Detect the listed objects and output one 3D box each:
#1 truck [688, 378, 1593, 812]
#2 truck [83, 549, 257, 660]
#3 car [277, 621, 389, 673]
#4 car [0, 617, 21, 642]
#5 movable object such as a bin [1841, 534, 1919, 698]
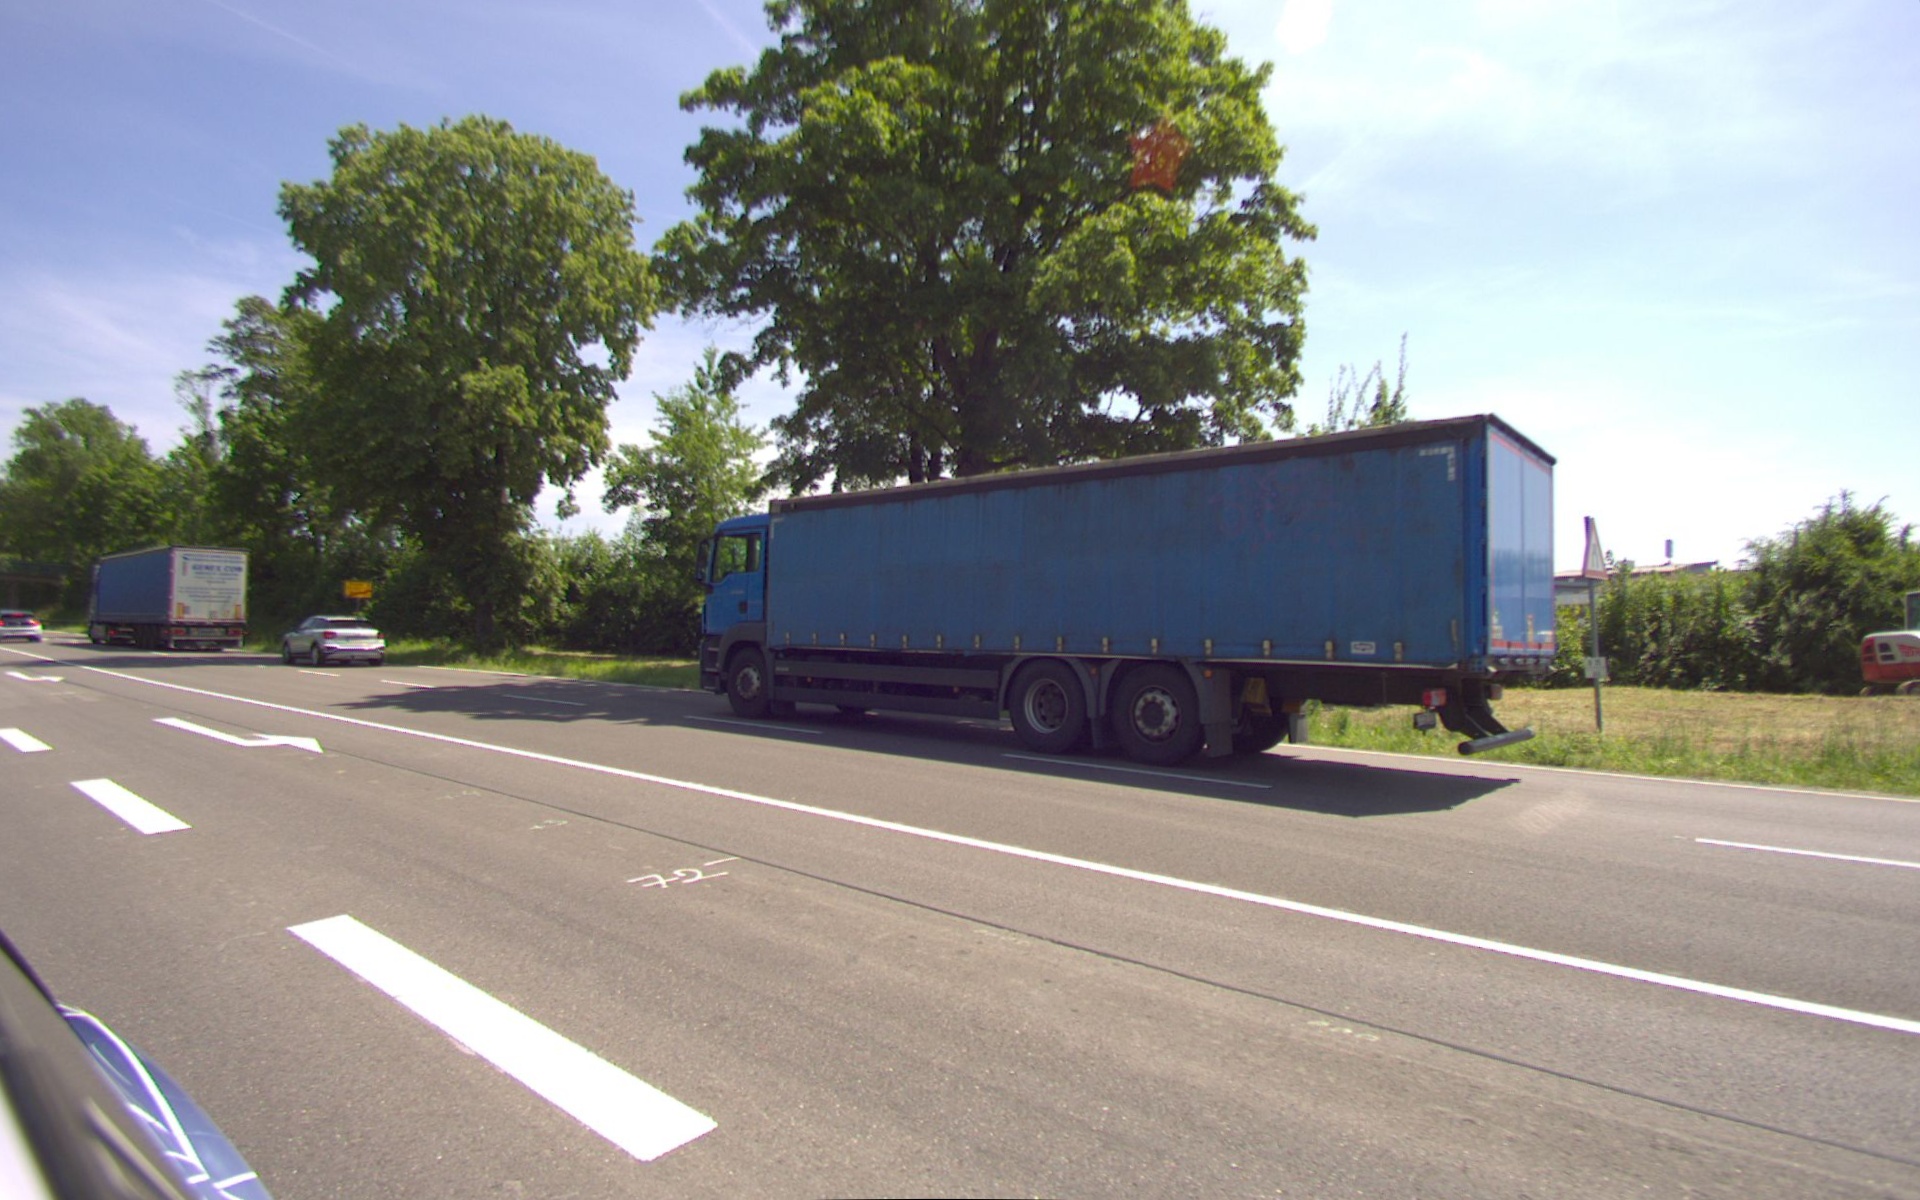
[{"bbox_3d":[1.046,0.017,12.761,11.478,3.377,2.816,-1,-1,42],"label":"truck"},{"bbox_3d":[-35.417,0.266,44.917,16.566,4.208,2.937,-1,-2,41],"label":"truck"},{"bbox_3d":[-18.926,1.373,30.471,4.178,1.438,1.742,-1,-2,42],"label":"car"},{"bbox_3d":[-58.698,1.782,61.658,4.559,1.425,1.682,-1,-1,40],"label":"car"},{"bbox_3d":[21.197,0.285,18.894,3.004,3.324,6.803,1,-2,-8],"label":"movable object such as a bin"}]
